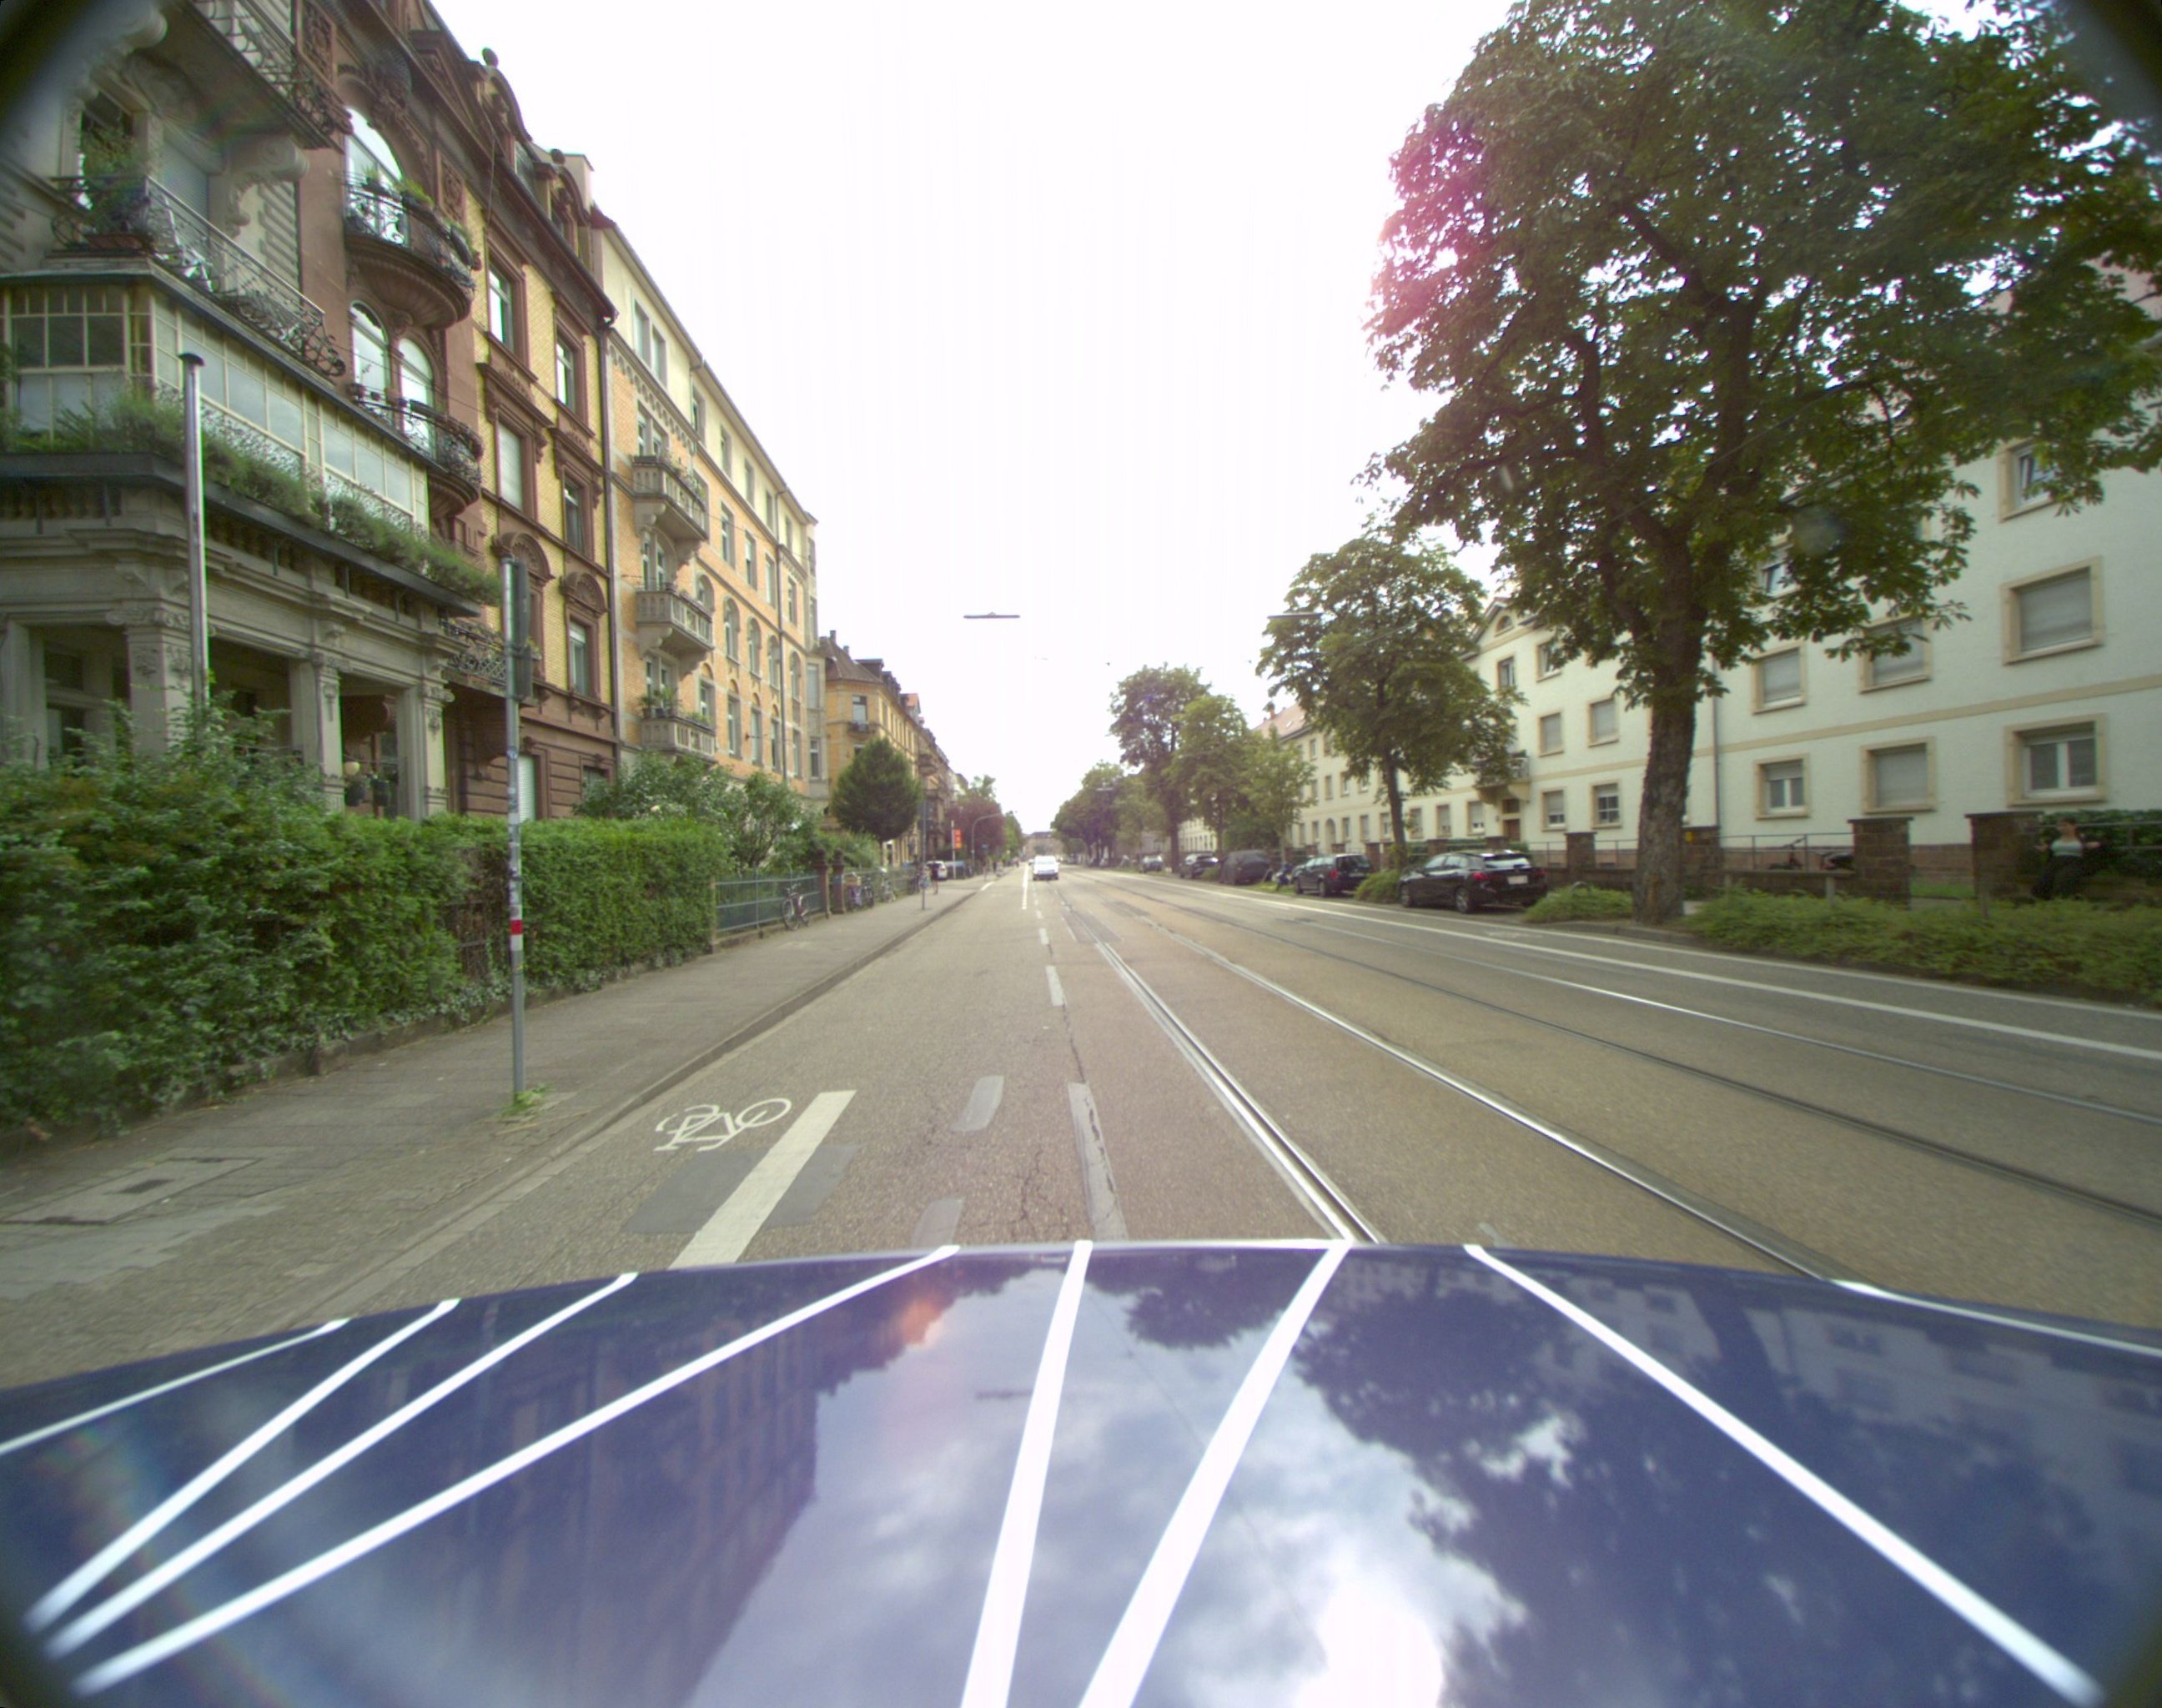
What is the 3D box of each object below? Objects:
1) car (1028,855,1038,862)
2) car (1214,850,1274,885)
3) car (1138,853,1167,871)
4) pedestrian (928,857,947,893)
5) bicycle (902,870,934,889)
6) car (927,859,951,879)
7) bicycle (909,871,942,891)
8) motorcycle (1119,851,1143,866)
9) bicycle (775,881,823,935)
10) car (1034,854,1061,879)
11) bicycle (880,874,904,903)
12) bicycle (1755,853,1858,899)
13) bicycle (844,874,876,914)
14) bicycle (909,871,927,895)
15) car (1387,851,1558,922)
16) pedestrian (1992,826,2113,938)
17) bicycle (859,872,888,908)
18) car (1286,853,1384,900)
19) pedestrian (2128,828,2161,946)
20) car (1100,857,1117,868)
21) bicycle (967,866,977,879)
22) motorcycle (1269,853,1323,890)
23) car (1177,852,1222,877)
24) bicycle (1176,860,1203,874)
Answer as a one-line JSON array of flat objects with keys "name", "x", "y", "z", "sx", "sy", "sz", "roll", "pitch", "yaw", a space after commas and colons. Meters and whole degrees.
[{"name": "car", "x": -11.719, "y": 1.079, "z": 185.711, "sx": 1.947, "sy": 1.675, "sz": 4.000, "roll": -2, "pitch": 0, "yaw": 1}, {"name": "car", "x": 8.094, "y": 0.651, "z": 38.161, "sx": 1.790, "sy": 1.602, "sz": 4.298, "roll": -2, "pitch": 0, "yaw": -4}, {"name": "car", "x": 6.212, "y": 0.667, "z": 66.584, "sx": 1.702, "sy": 1.462, "sz": 4.297, "roll": -2, "pitch": 0, "yaw": -6}, {"name": "pedestrian", "x": -6.598, "y": 0.966, "z": 34.922, "sx": 0.732, "sy": 1.614, "sz": 0.835, "roll": -2, "pitch": 0, "yaw": -4}, {"name": "bicycle", "x": -10.053, "y": 1.559, "z": 46.883, "sx": 1.890, "sy": 1.121, "sz": 0.533, "roll": -2, "pitch": 0, "yaw": 13}, {"name": "car", "x": -11.388, "y": 1.191, "z": 61.137, "sx": 1.757, "sy": 1.516, "sz": 3.997, "roll": -2, "pitch": 0, "yaw": -9}, {"name": "bicycle", "x": -8.933, "y": 1.548, "z": 43.705, "sx": 0.629, "sy": 1.106, "sz": 1.878, "roll": -1, "pitch": 0, "yaw": 39}, {"name": "motorcycle", "x": 5.365, "y": 0.467, "z": 82.227, "sx": 2.312, "sy": 1.382, "sz": 0.838, "roll": -7, "pitch": 1, "yaw": 28}, {"name": "bicycle", "x": -6.458, "y": 1.220, "z": 17.474, "sx": 0.580, "sy": 1.105, "sz": 1.671, "roll": -2, "pitch": 0, "yaw": -5}, {"name": "car", "x": -2.482, "y": 0.895, "z": 55.759, "sx": 1.876, "sy": 1.670, "sz": 5.129, "roll": -2, "pitch": 0, "yaw": -3}, {"name": "bicycle", "x": -7.054, "y": 1.269, "z": 28.422, "sx": 0.580, "sy": 0.977, "sz": 1.671, "roll": 2, "pitch": 0, "yaw": -5}, {"name": "bicycle", "x": 14.471, "y": 0.423, "z": 15.212, "sx": 0.510, "sy": 0.858, "sz": 1.549, "roll": -2, "pitch": 0, "yaw": -3}, {"name": "bicycle", "x": -6.626, "y": 1.177, "z": 22.830, "sx": 0.580, "sy": 1.105, "sz": 1.671, "roll": 2, "pitch": 0, "yaw": -5}, {"name": "bicycle", "x": -7.344, "y": 1.295, "z": 34.305, "sx": 0.580, "sy": 0.977, "sz": 1.671, "roll": 2, "pitch": 0, "yaw": -5}, {"name": "car", "x": 9.394, "y": 0.714, "z": 18.687, "sx": 1.701, "sy": 1.415, "sz": 4.298, "roll": -5, "pitch": 0, "yaw": -4}, {"name": "pedestrian", "x": 13.746, "y": 0.377, "z": 10.770, "sx": 0.835, "sy": 1.503, "sz": 0.732, "roll": -2, "pitch": 0, "yaw": -9}, {"name": "bicycle", "x": -6.763, "y": 1.151, "z": 24.798, "sx": 0.580, "sy": 1.105, "sz": 1.671, "roll": 2, "pitch": 0, "yaw": -5}, {"name": "car", "x": 8.807, "y": 0.729, "z": 26.714, "sx": 1.701, "sy": 1.415, "sz": 4.298, "roll": -3, "pitch": 0, "yaw": -4}, {"name": "pedestrian", "x": 13.857, "y": 0.399, "z": 9.411, "sx": 0.835, "sy": 1.456, "sz": 0.732, "roll": -2, "pitch": 0, "yaw": -9}, {"name": "car", "x": 3.794, "y": 1.138, "z": 103.945, "sx": 1.732, "sy": 1.462, "sz": 4.298, "roll": -2, "pitch": 0, "yaw": -6}, {"name": "bicycle", "x": -9.620, "y": 1.628, "z": 67.071, "sx": 0.631, "sy": 1.106, "sz": 1.874, "roll": -2, "pitch": 0, "yaw": -3}, {"name": "motorcycle", "x": 8.654, "y": 0.708, "z": 30.608, "sx": 1.872, "sy": 1.253, "sz": 0.591, "roll": -7, "pitch": 1, "yaw": -7}, {"name": "car", "x": 7.330, "y": 0.640, "z": 47.447, "sx": 1.702, "sy": 1.462, "sz": 4.298, "roll": -2, "pitch": 0, "yaw": -6}, {"name": "bicycle", "x": 7.417, "y": 0.886, "z": 52.081, "sx": 1.672, "sy": 0.965, "sz": 0.672, "roll": -2, "pitch": 0, "yaw": -12}]
